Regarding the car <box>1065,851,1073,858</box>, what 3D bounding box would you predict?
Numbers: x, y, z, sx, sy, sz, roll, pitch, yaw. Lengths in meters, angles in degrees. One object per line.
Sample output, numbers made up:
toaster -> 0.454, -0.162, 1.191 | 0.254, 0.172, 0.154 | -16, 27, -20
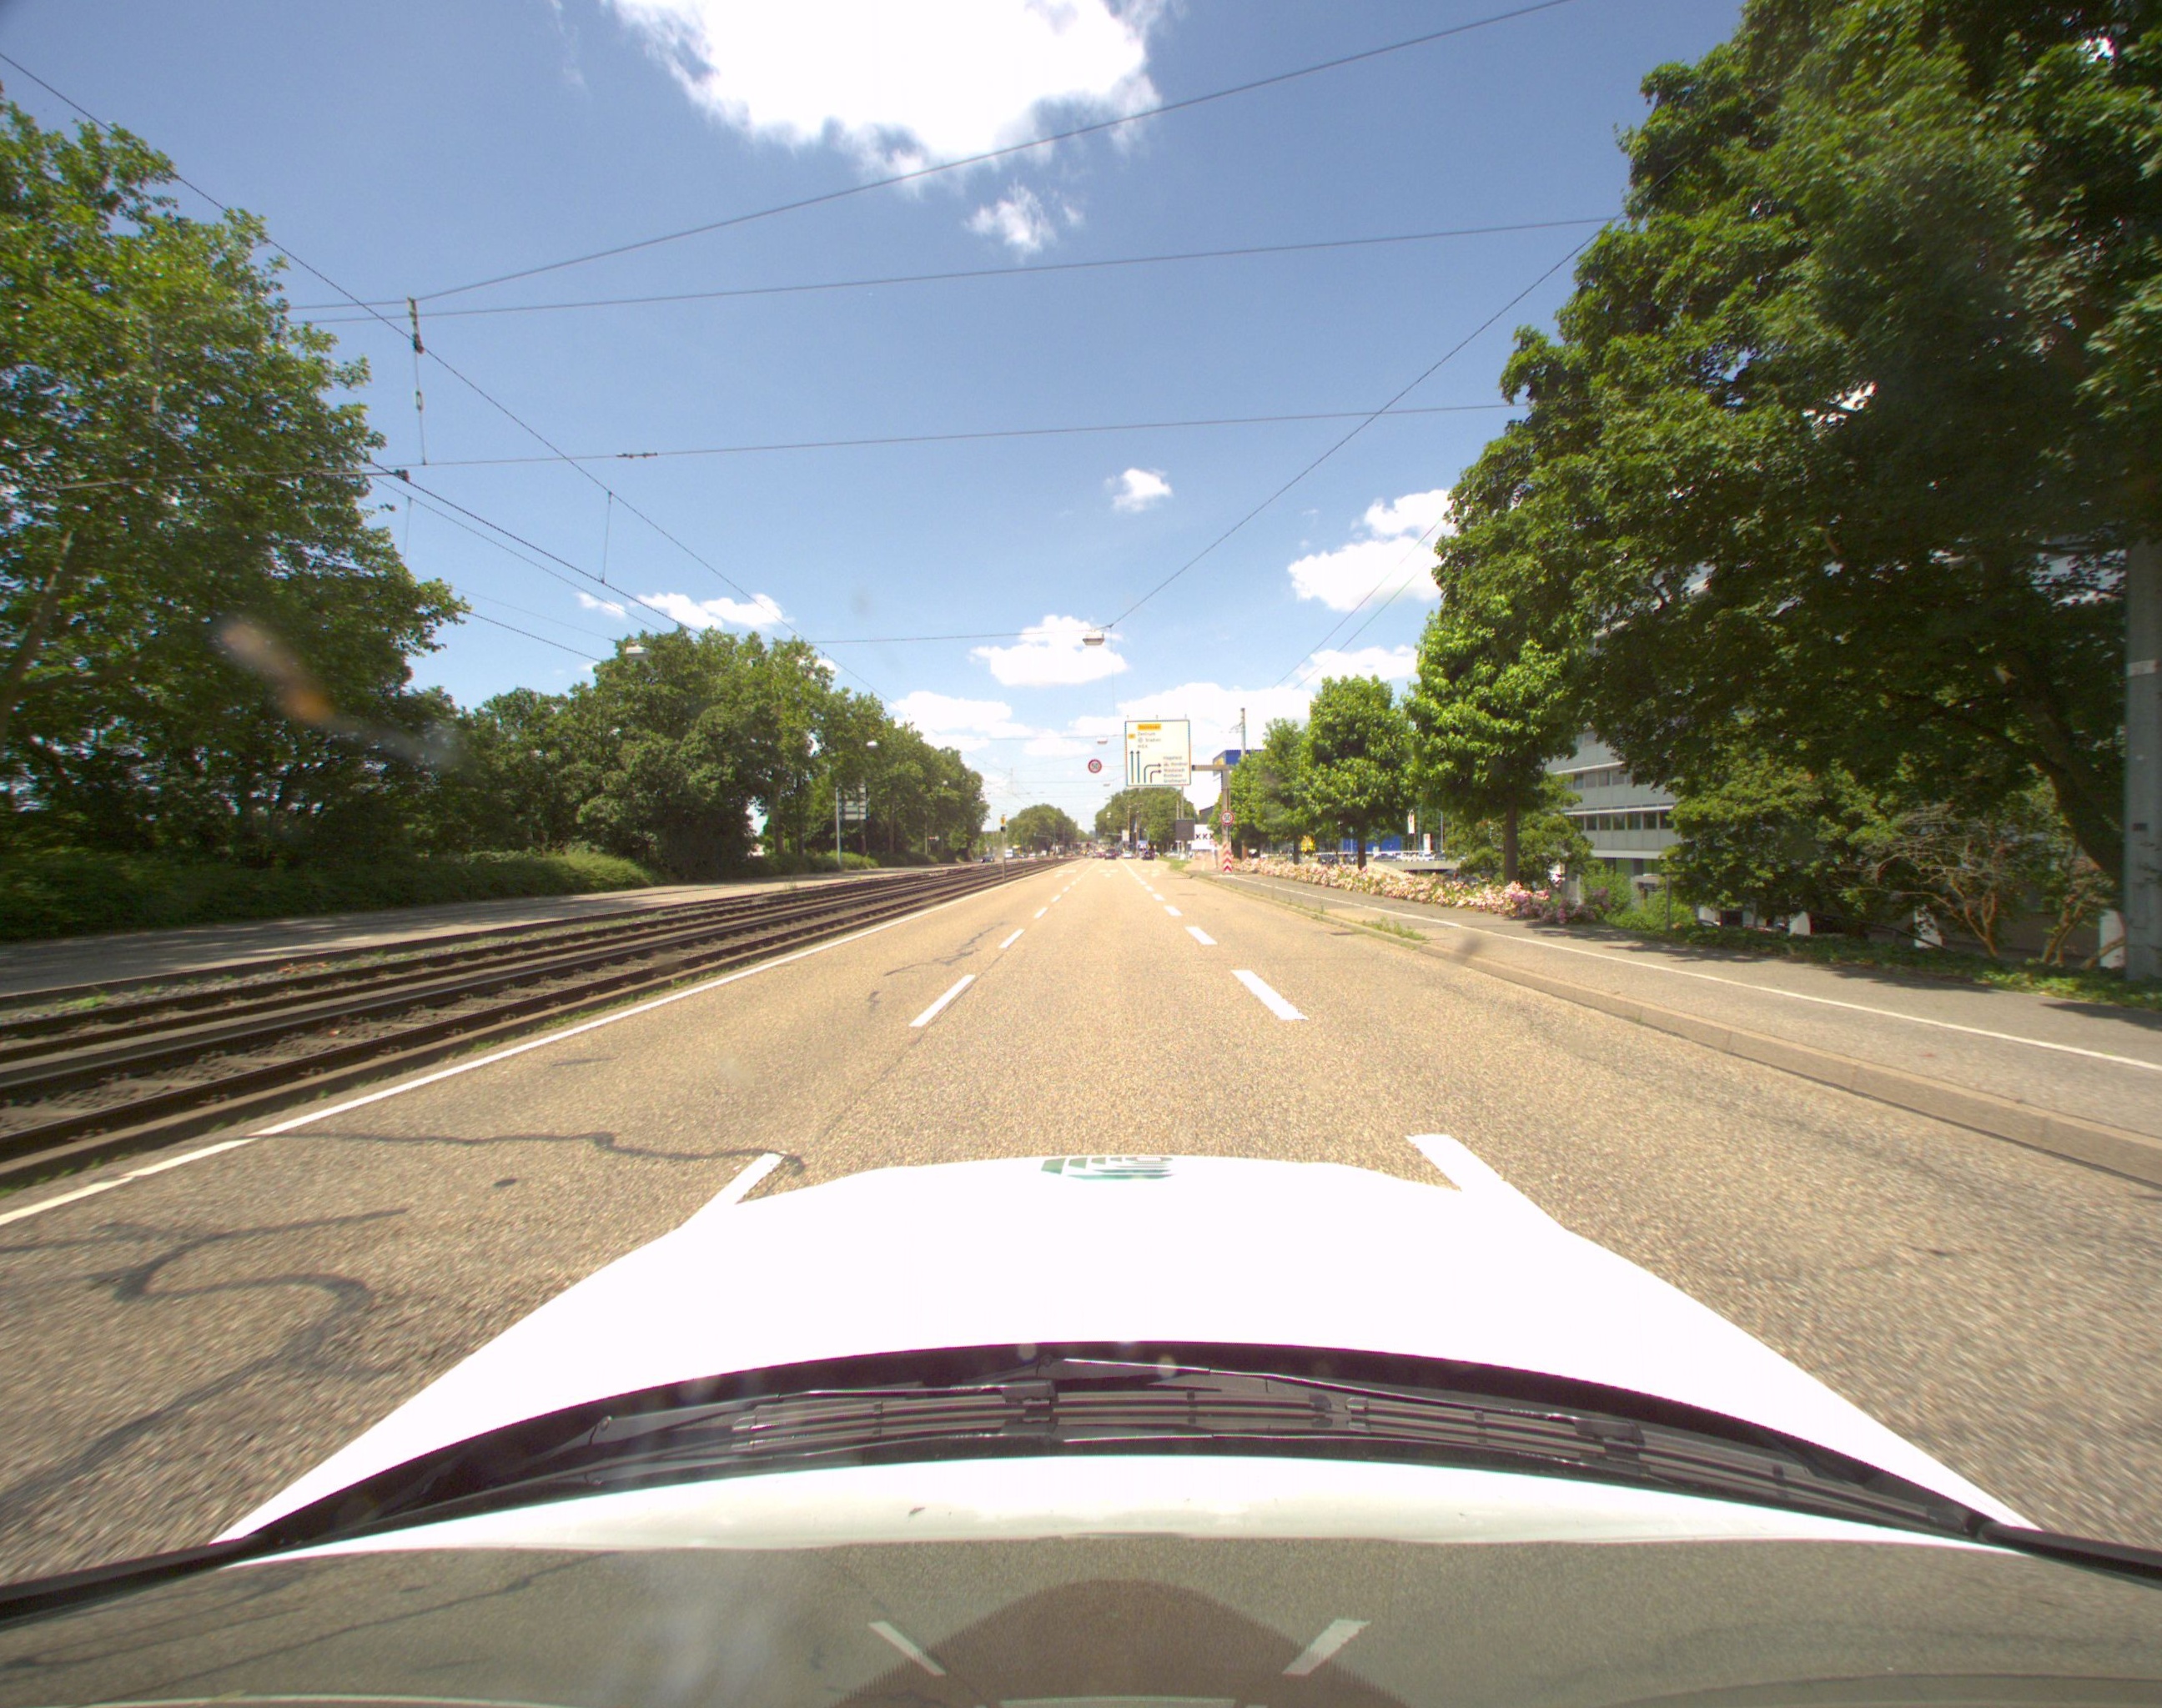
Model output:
car -> -2.845, 0.171, 190.858 | 1.836, 1.549, 3.777 | 1, 0, 0

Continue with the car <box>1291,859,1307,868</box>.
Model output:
car -> 36.665, 1.565, 137.055 | 1.566, 1.482, 3.888 | 0, 0, 0

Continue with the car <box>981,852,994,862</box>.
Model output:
car -> -15.047, 0.544, 131.552 | 1.639, 1.550, 4.216 | 0, 0, 0

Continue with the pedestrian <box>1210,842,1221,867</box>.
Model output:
pedestrian -> 9.870, 0.050, 59.755 | 0.666, 1.792, 0.925 | 0, 0, 4

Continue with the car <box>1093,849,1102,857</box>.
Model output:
car -> 3.569, -0.218, 173.729 | 1.836, 1.549, 3.777 | 1, 0, 0

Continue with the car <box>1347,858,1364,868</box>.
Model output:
car -> 45.978, 1.500, 136.273 | 1.566, 1.482, 3.888 | 0, 0, 0

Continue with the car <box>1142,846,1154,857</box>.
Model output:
car -> 10.978, -0.387, 133.692 | 1.892, 1.805, 3.979 | 0, 0, 2

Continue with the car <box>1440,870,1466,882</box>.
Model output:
car -> 48.371, 2.846, 105.962 | 1.734, 1.482, 3.966 | 0, 0, 2

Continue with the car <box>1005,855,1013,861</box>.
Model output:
car -> -19.334, 0.981, 218.611 | 1.617, 1.549, 3.705 | 0, 0, 2

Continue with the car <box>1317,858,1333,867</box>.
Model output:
car -> 41.716, 1.504, 139.129 | 1.566, 1.482, 3.888 | 0, 0, 0

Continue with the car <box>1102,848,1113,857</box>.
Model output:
car -> 4.543, -0.199, 140.391 | 1.869, 1.539, 3.778 | 0, 0, 1

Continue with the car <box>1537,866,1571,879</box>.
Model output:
car -> 55.177, 2.143, 95.031 | 1.734, 1.482, 3.966 | 0, 0, 2

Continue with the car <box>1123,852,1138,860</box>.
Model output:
car -> 10.426, 0.390, 171.584 | 1.670, 1.549, 4.006 | 1, 0, 24

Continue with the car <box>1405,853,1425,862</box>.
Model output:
car -> 53.032, 0.532, 129.374 | 1.566, 1.482, 3.888 | 0, 0, 0
